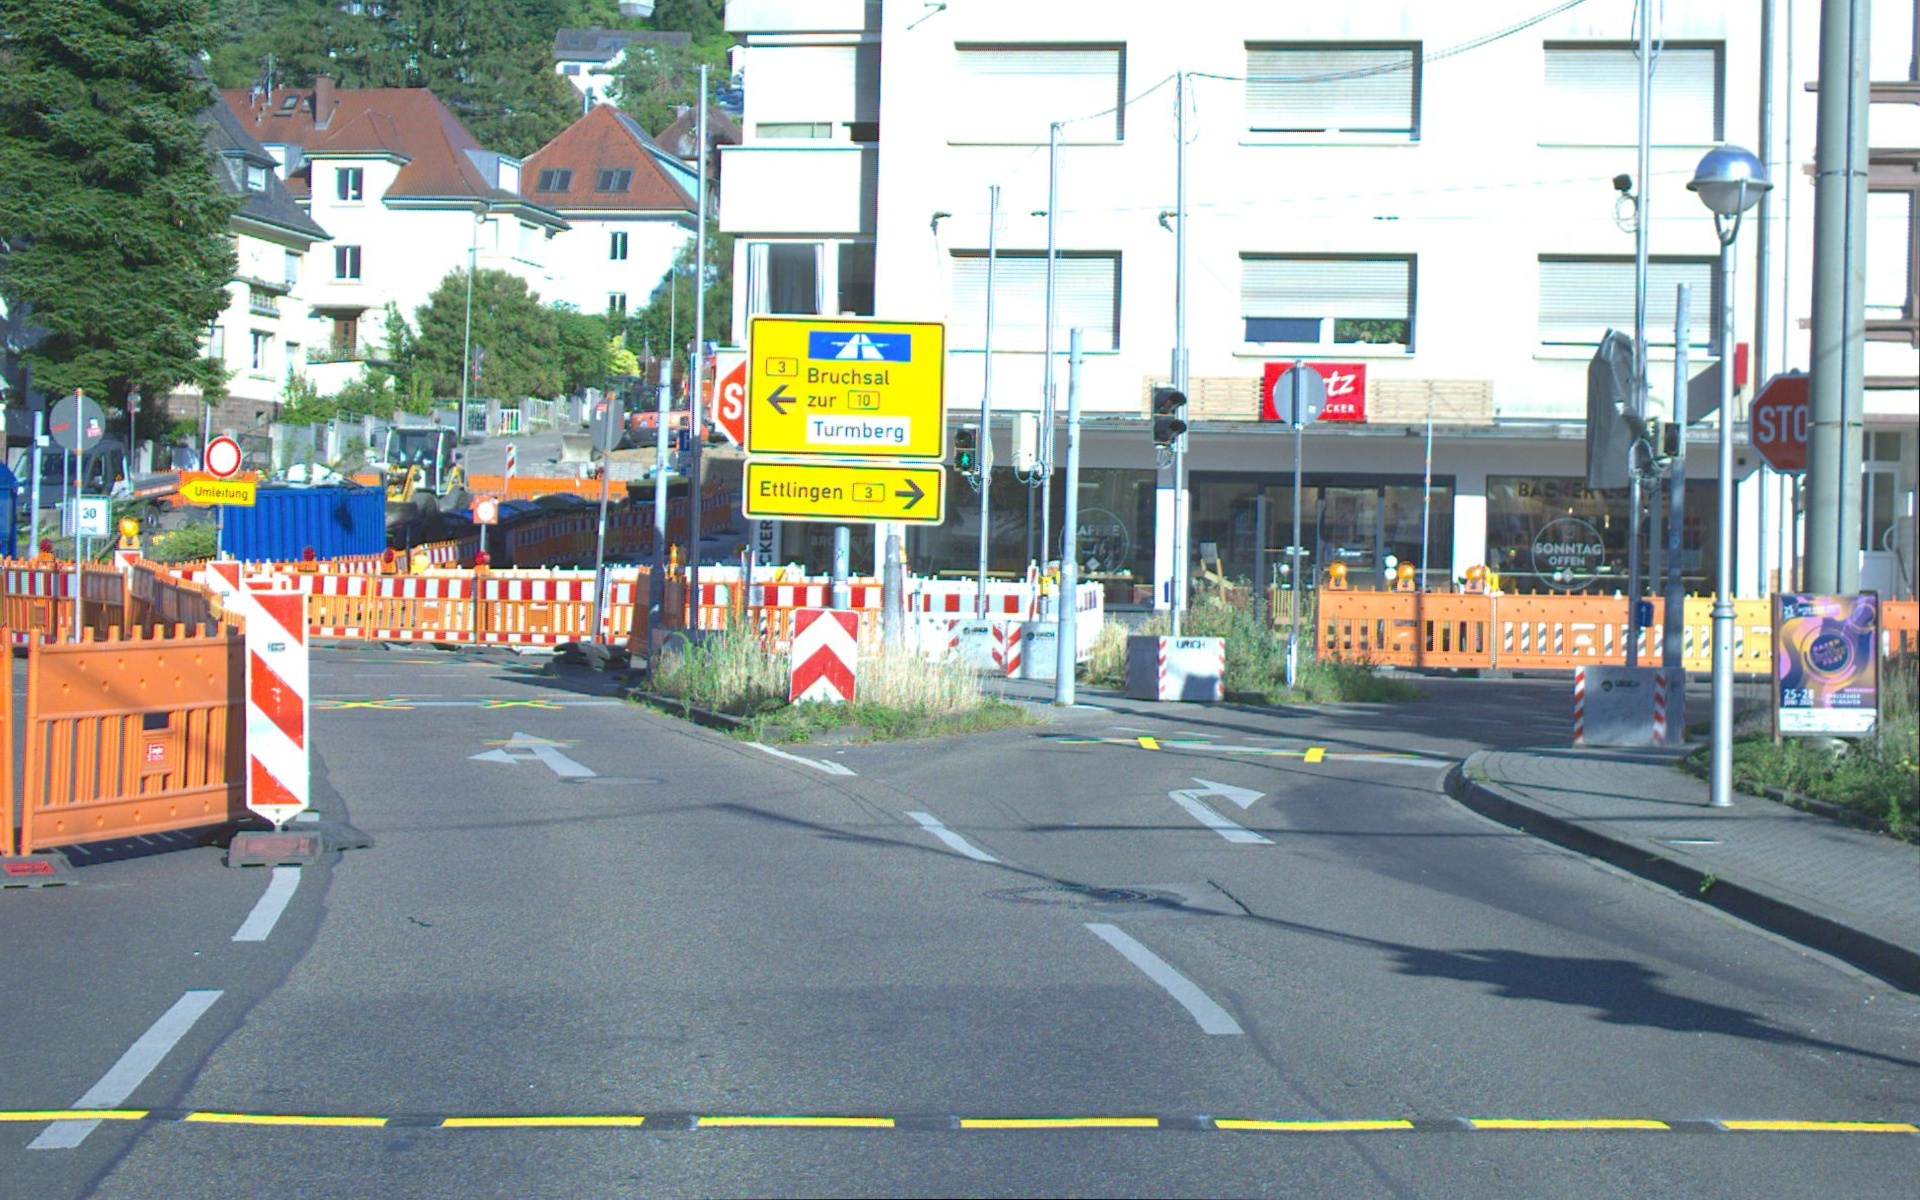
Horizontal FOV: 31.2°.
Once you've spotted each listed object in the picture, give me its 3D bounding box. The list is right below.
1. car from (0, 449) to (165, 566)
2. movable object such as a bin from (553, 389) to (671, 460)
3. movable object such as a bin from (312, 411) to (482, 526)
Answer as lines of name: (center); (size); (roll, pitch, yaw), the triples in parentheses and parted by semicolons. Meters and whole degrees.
car: (-18.065, -1.748, 66.161); (2.585, 2.113, 6.145); (1, 1, 18)
movable object such as a bin: (-11.584, -5.827, 114.848); (2.566, 2.114, 5.782); (1, 1, 8)
movable object such as a bin: (-12.883, -2.981, 78.954); (1.950, 2.486, 4.547); (1, 1, 18)
